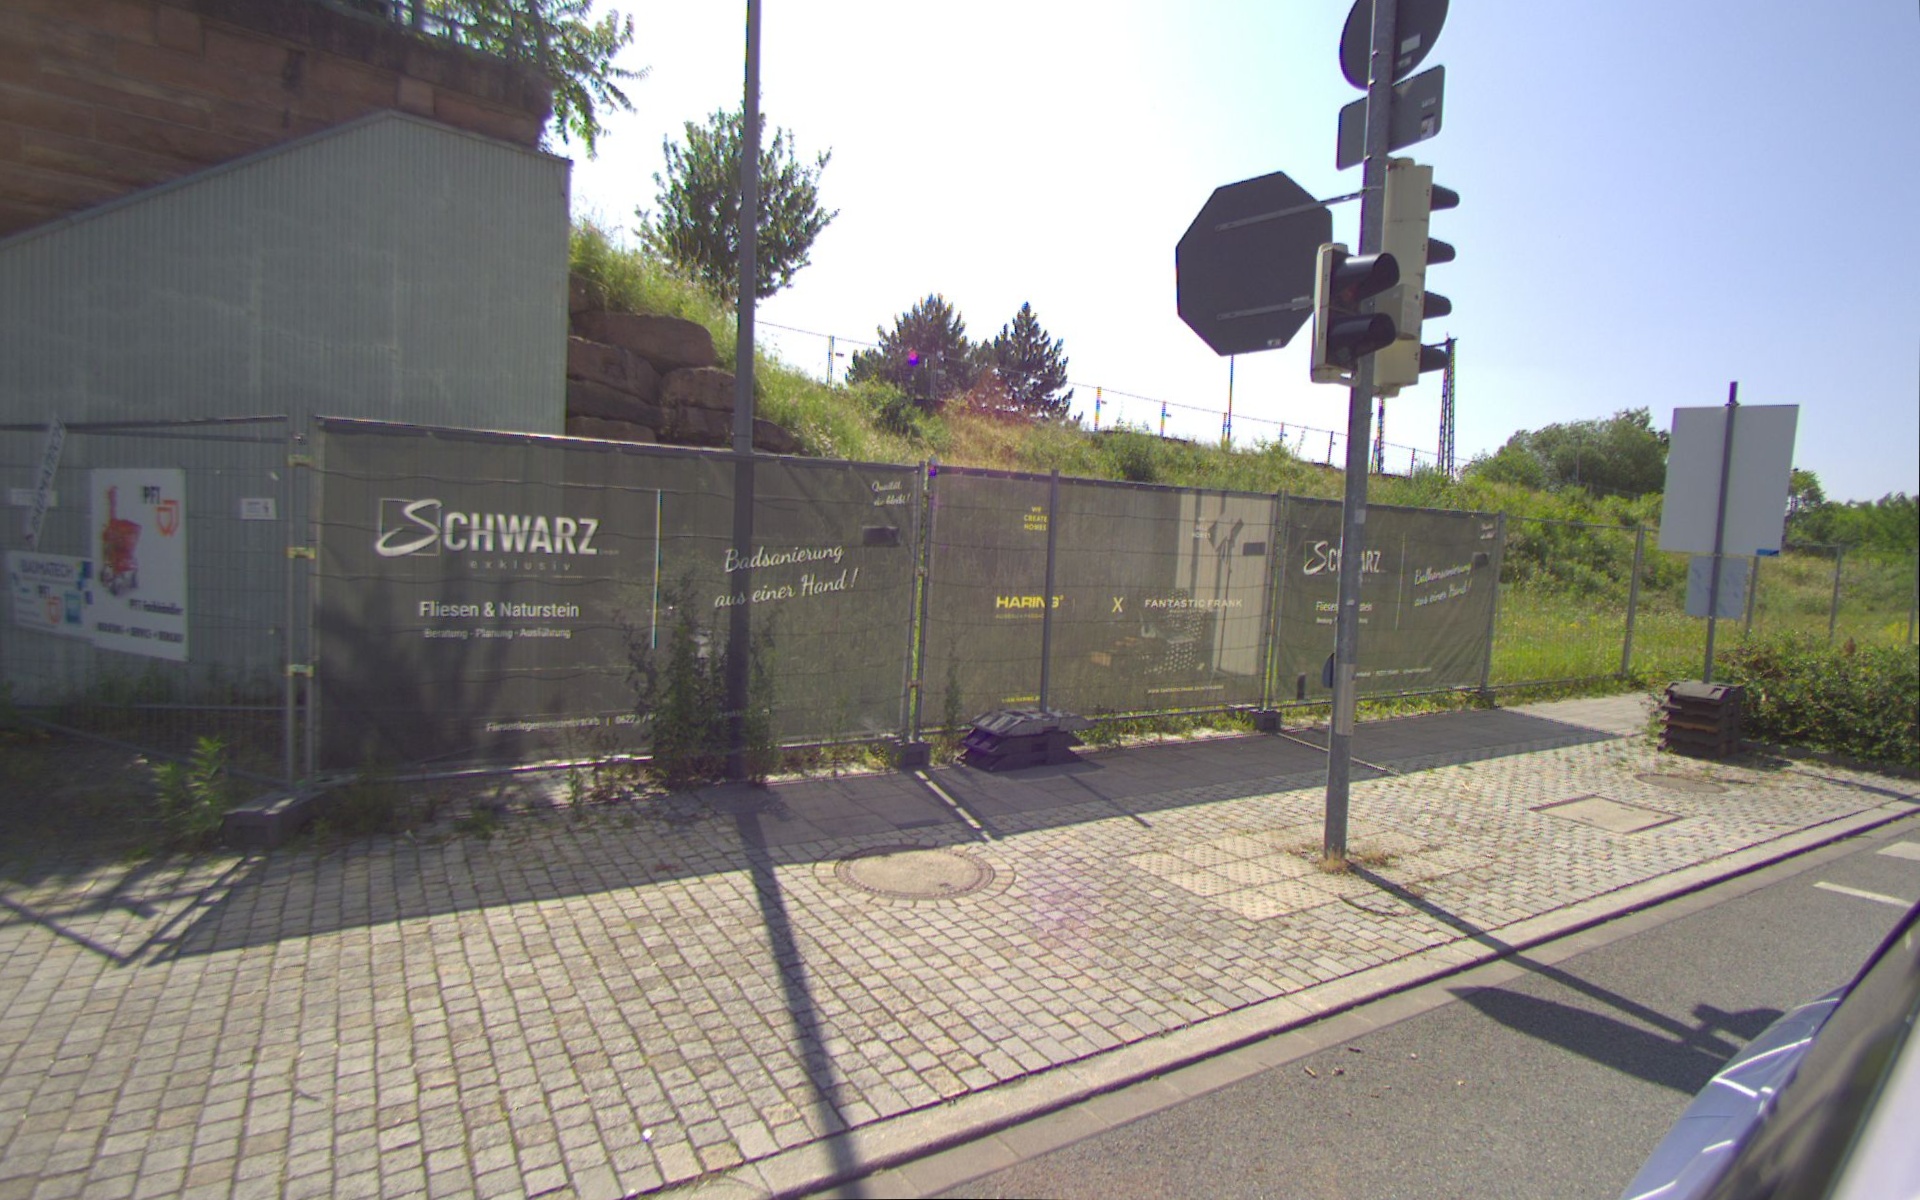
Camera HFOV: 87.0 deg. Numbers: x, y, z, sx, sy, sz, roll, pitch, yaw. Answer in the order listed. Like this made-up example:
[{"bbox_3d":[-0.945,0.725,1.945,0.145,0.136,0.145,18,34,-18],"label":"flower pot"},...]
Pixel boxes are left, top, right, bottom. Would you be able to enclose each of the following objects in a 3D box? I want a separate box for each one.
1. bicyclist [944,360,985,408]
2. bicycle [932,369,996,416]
[{"bbox_3d":[0.152,-7.410,34.780,1.044,1.405,0.951,-1,1,-41],"label":"bicyclist"},{"bbox_3d":[0.145,-7.092,34.770,2.137,1.228,0.936,-1,2,-41],"label":"bicycle"}]
